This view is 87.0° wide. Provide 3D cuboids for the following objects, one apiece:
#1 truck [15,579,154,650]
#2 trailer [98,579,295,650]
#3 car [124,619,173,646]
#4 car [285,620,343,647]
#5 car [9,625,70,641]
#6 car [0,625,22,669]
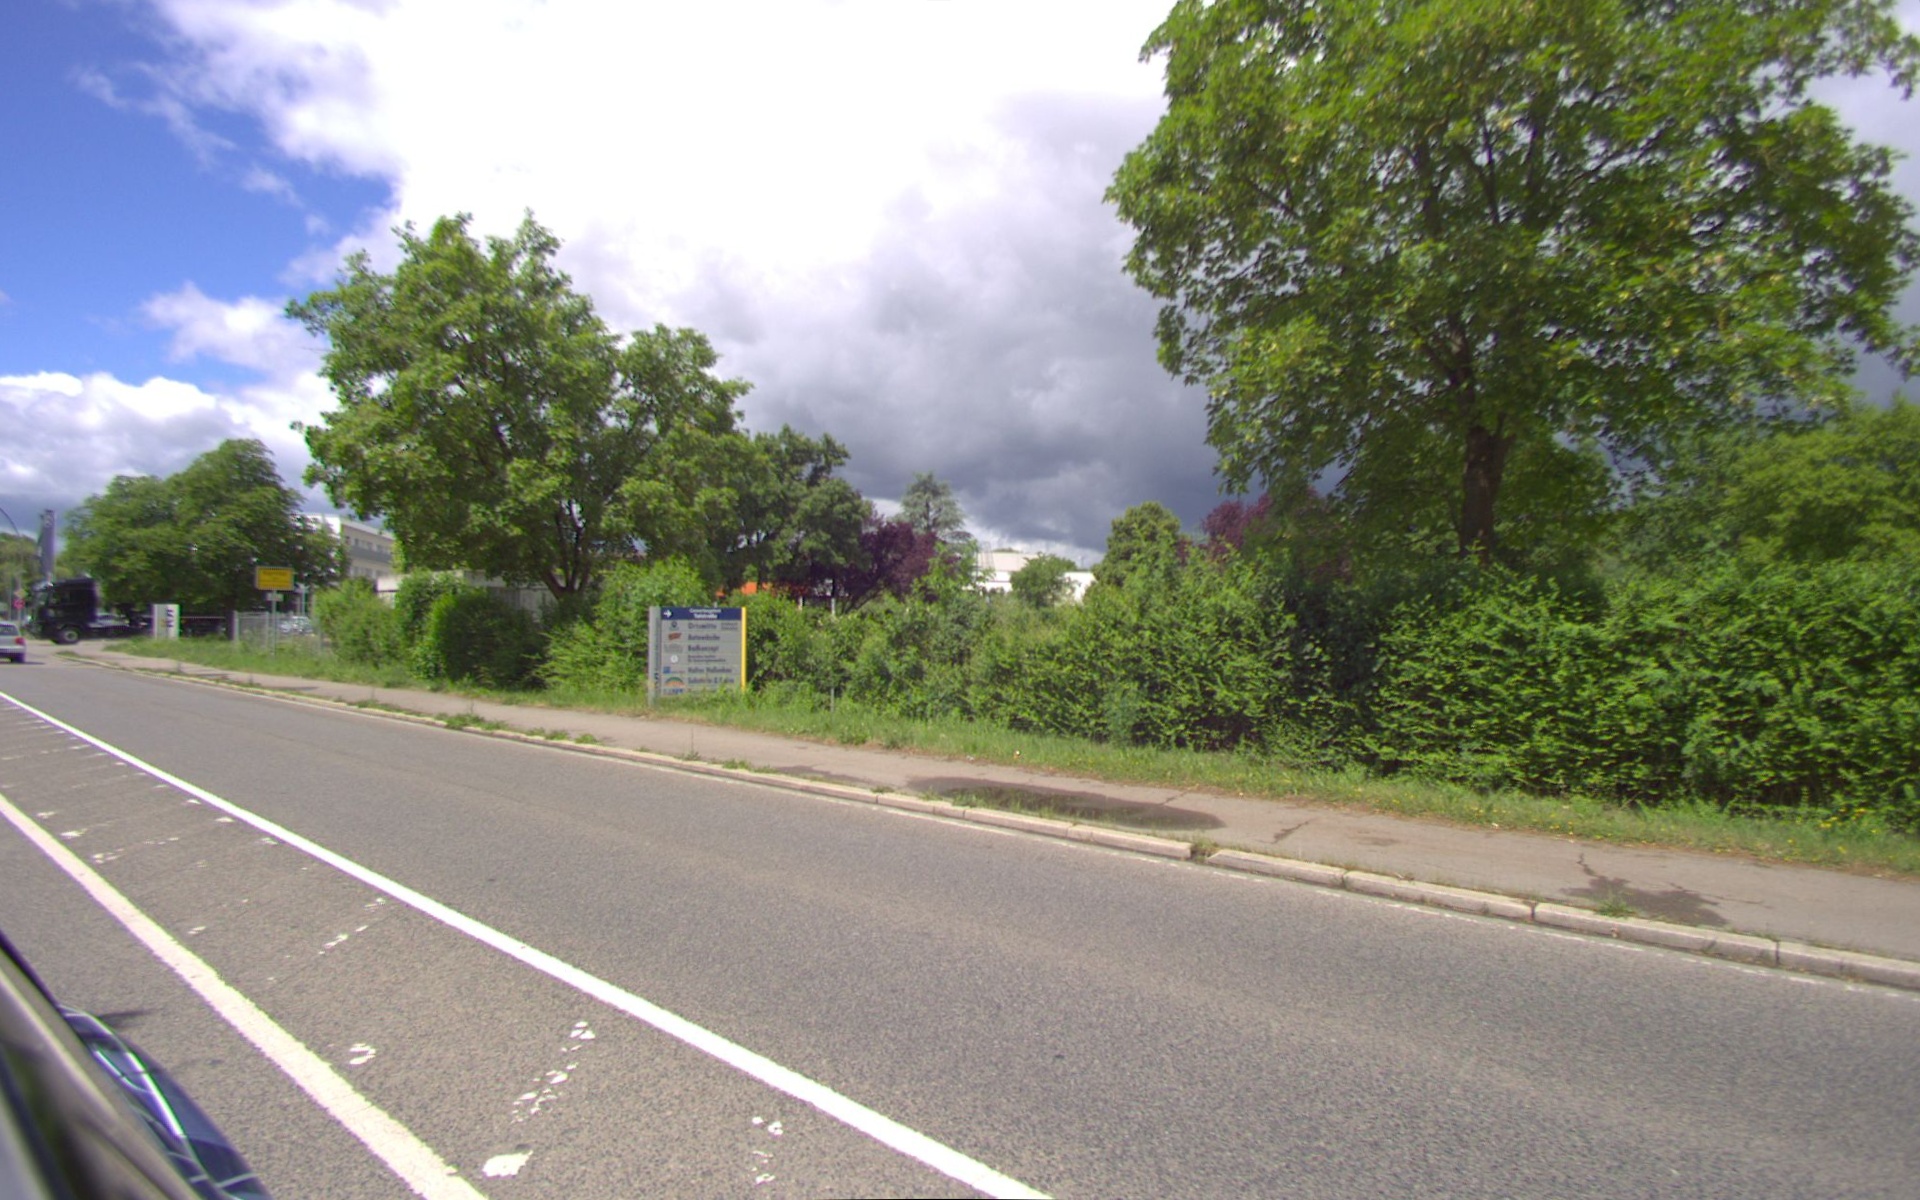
[{"bbox_3d":[-50.682,0.886,58.694,2.979,3.853,5.503,-1,-2,37],"label":"truck"},{"bbox_3d":[-47.818,0.998,63.842,3.302,4.114,9.383,0,-2,26],"label":"trailer"},{"bbox_3d":[-54.026,2.130,67.376,4.600,1.734,1.909,-1,-2,43],"label":"car"},{"bbox_3d":[-45.928,2.387,72.043,1.927,1.890,4.124,0,-2,-7],"label":"car"},{"bbox_3d":[-85.874,3.091,94.432,3.894,1.506,1.806,1,-2,-5],"label":"car"},{"bbox_3d":[-33.529,1.608,34.770,3.693,1.443,1.642,-2,-4,43],"label":"car"}]
